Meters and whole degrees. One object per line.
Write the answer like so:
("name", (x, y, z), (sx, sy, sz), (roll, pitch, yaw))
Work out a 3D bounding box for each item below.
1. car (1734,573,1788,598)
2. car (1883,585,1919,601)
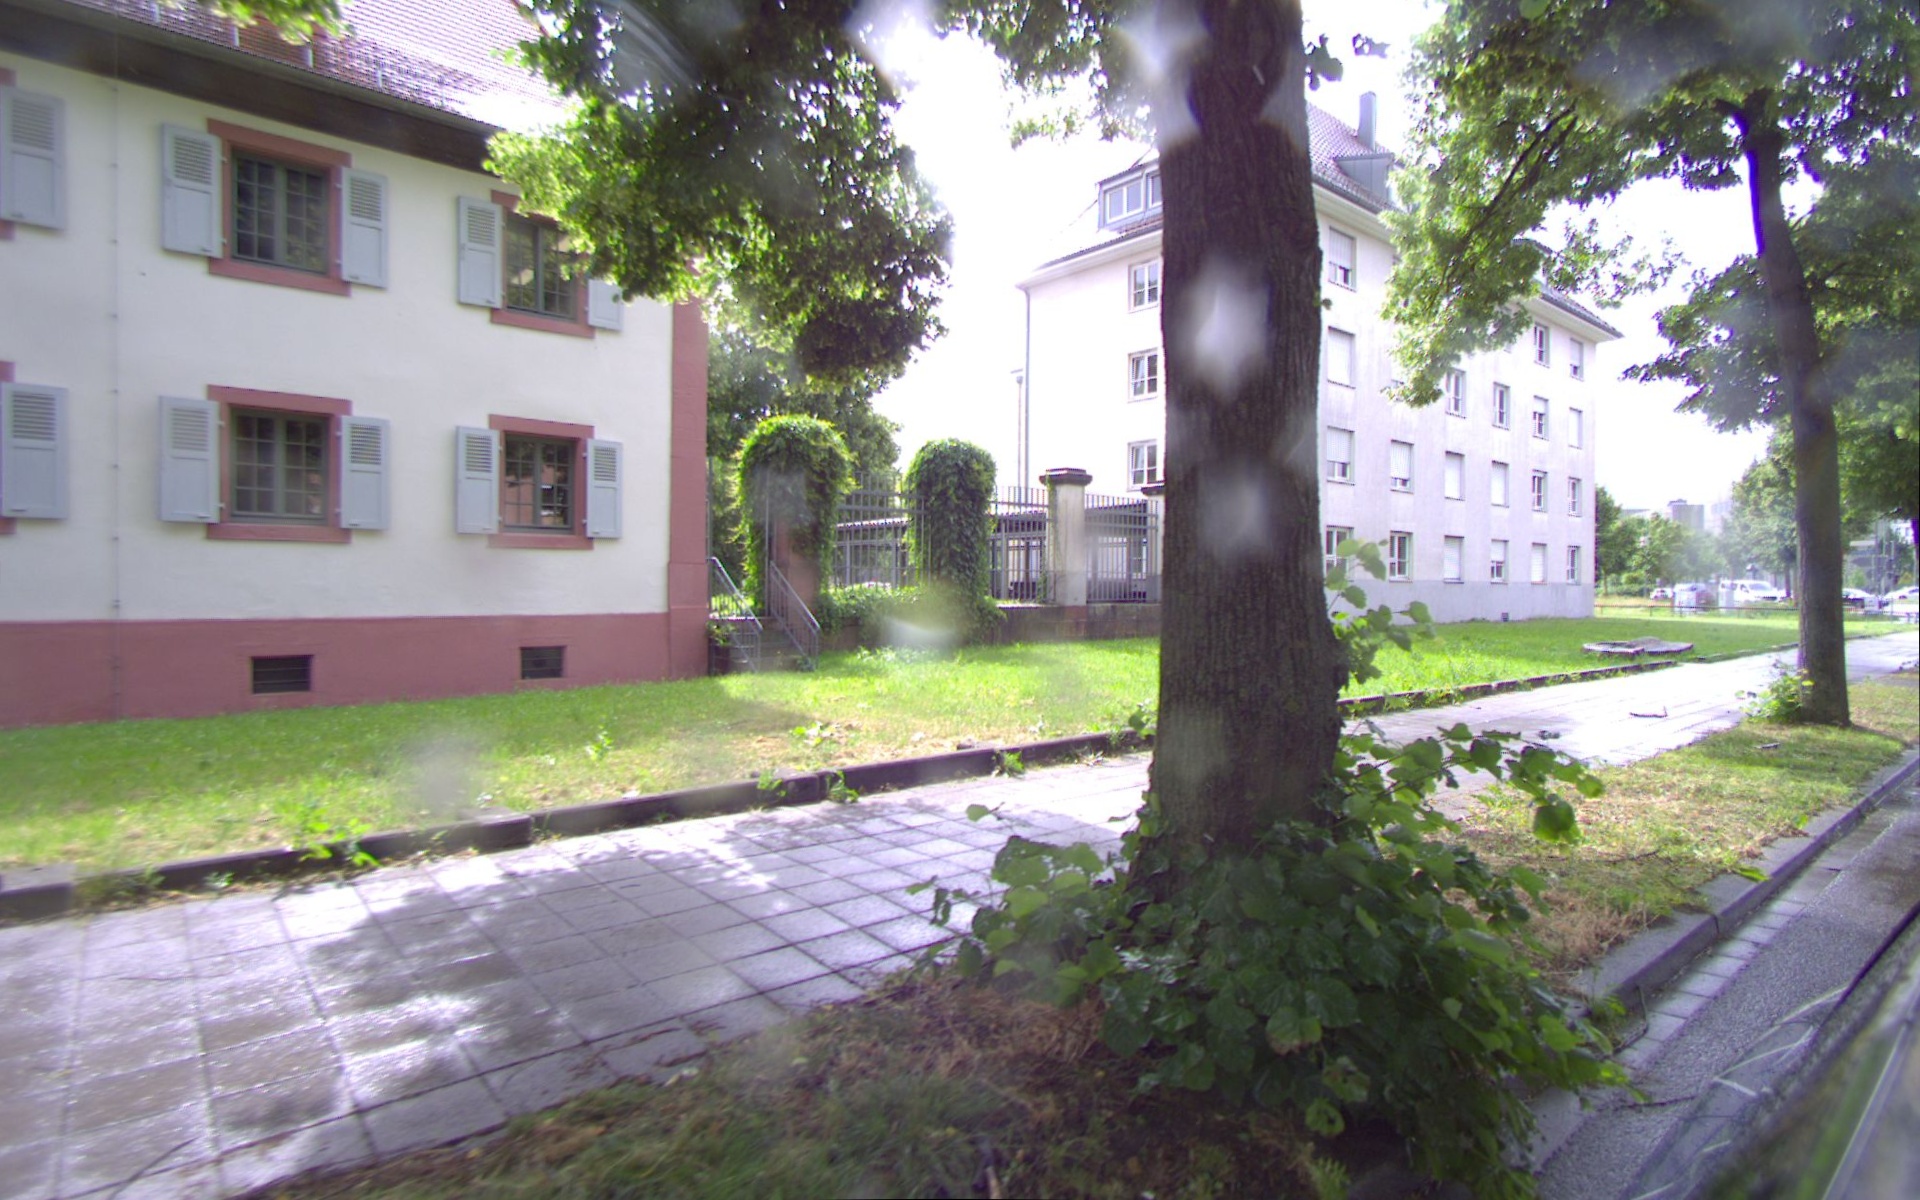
("car", (59.066, -1.073, 74.701), (1.869, 1.735, 4.201), (1, 1, 20))
("car", (96.367, -0.709, 102.382), (4.065, 1.549, 1.659), (0, 0, 19))
